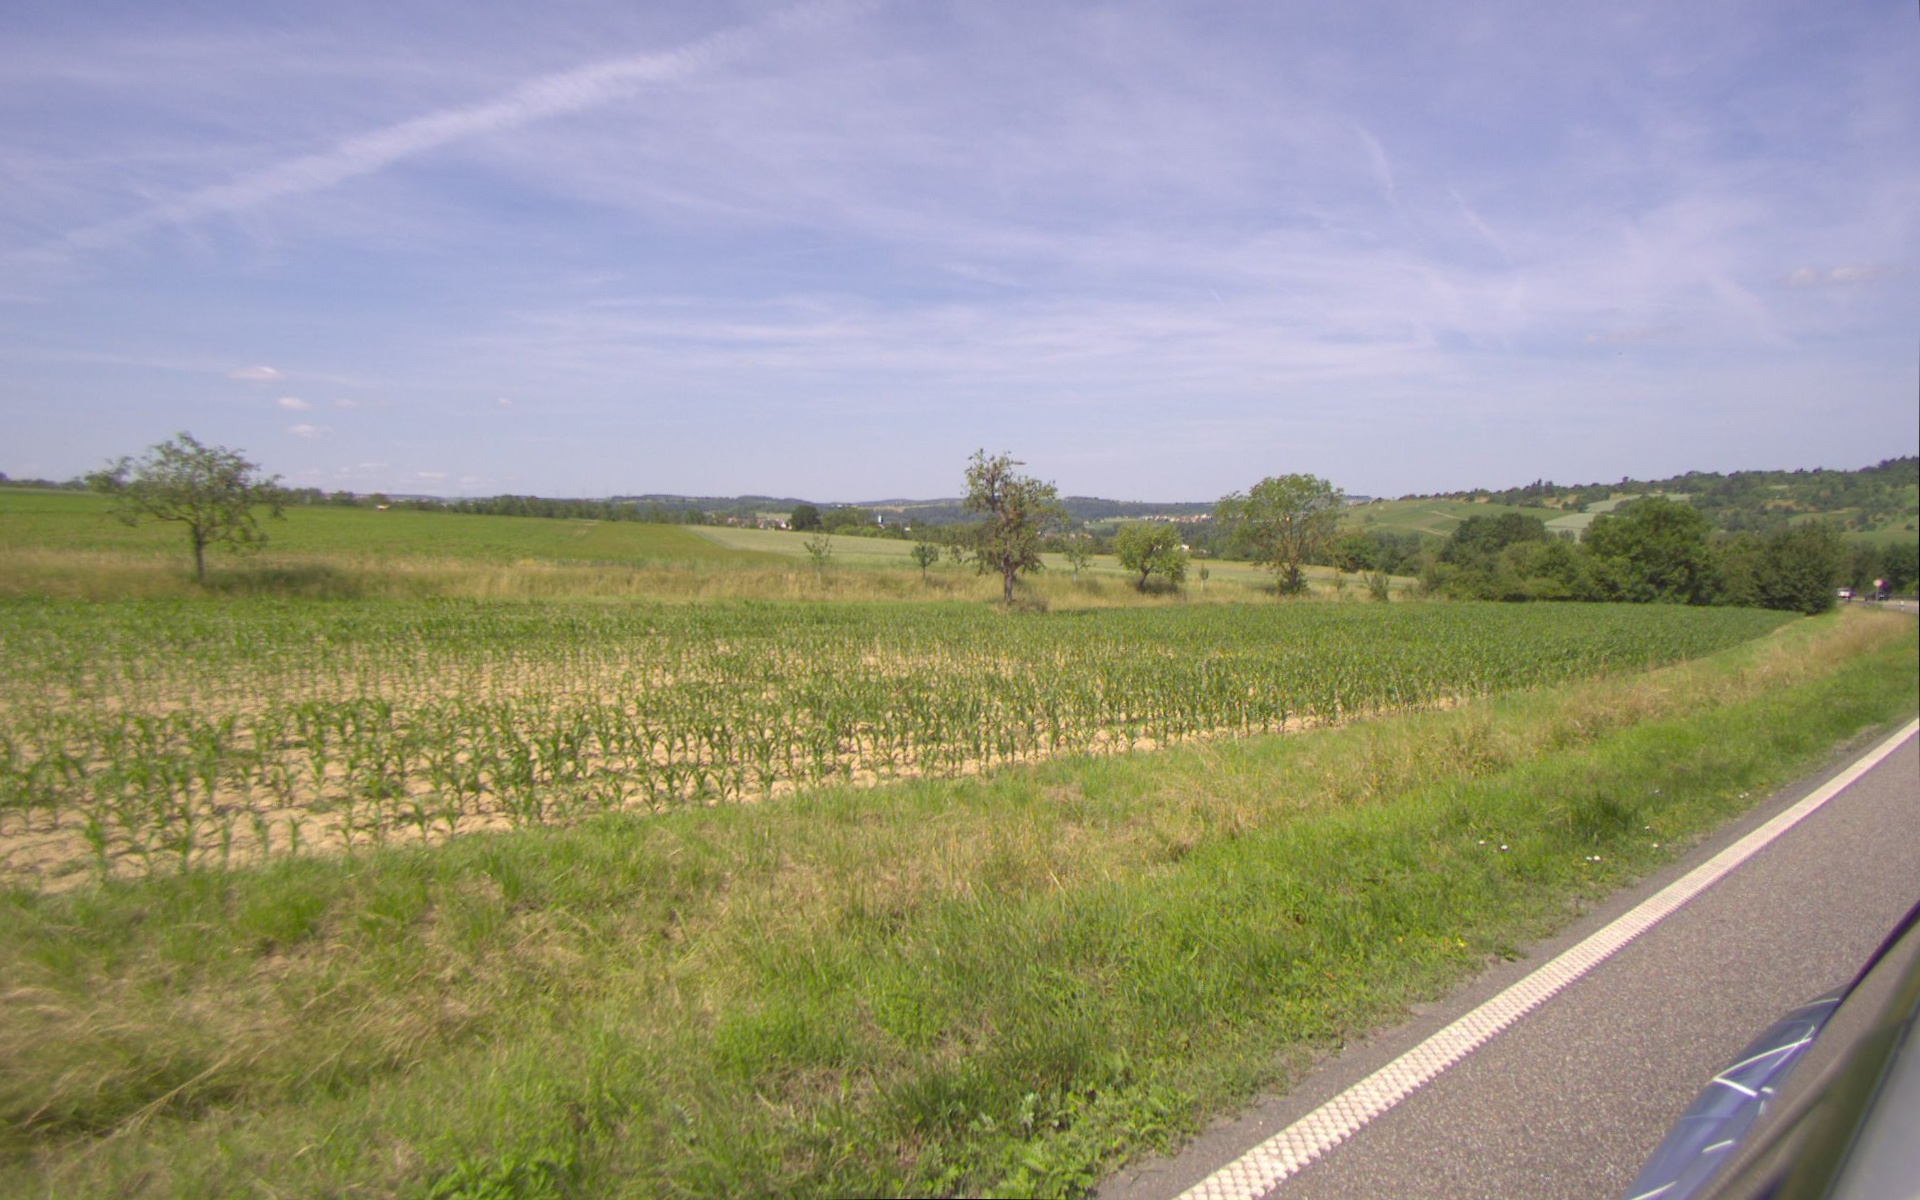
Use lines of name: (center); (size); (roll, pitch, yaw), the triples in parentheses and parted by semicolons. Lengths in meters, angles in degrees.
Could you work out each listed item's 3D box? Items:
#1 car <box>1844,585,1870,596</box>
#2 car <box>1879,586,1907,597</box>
car: (137.247, -1.457, 154.872); (1.802, 1.588, 4.639); (1, 2, 28)
car: (128.780, -1.202, 139.728); (1.707, 1.479, 4.175); (1, 1, 27)
